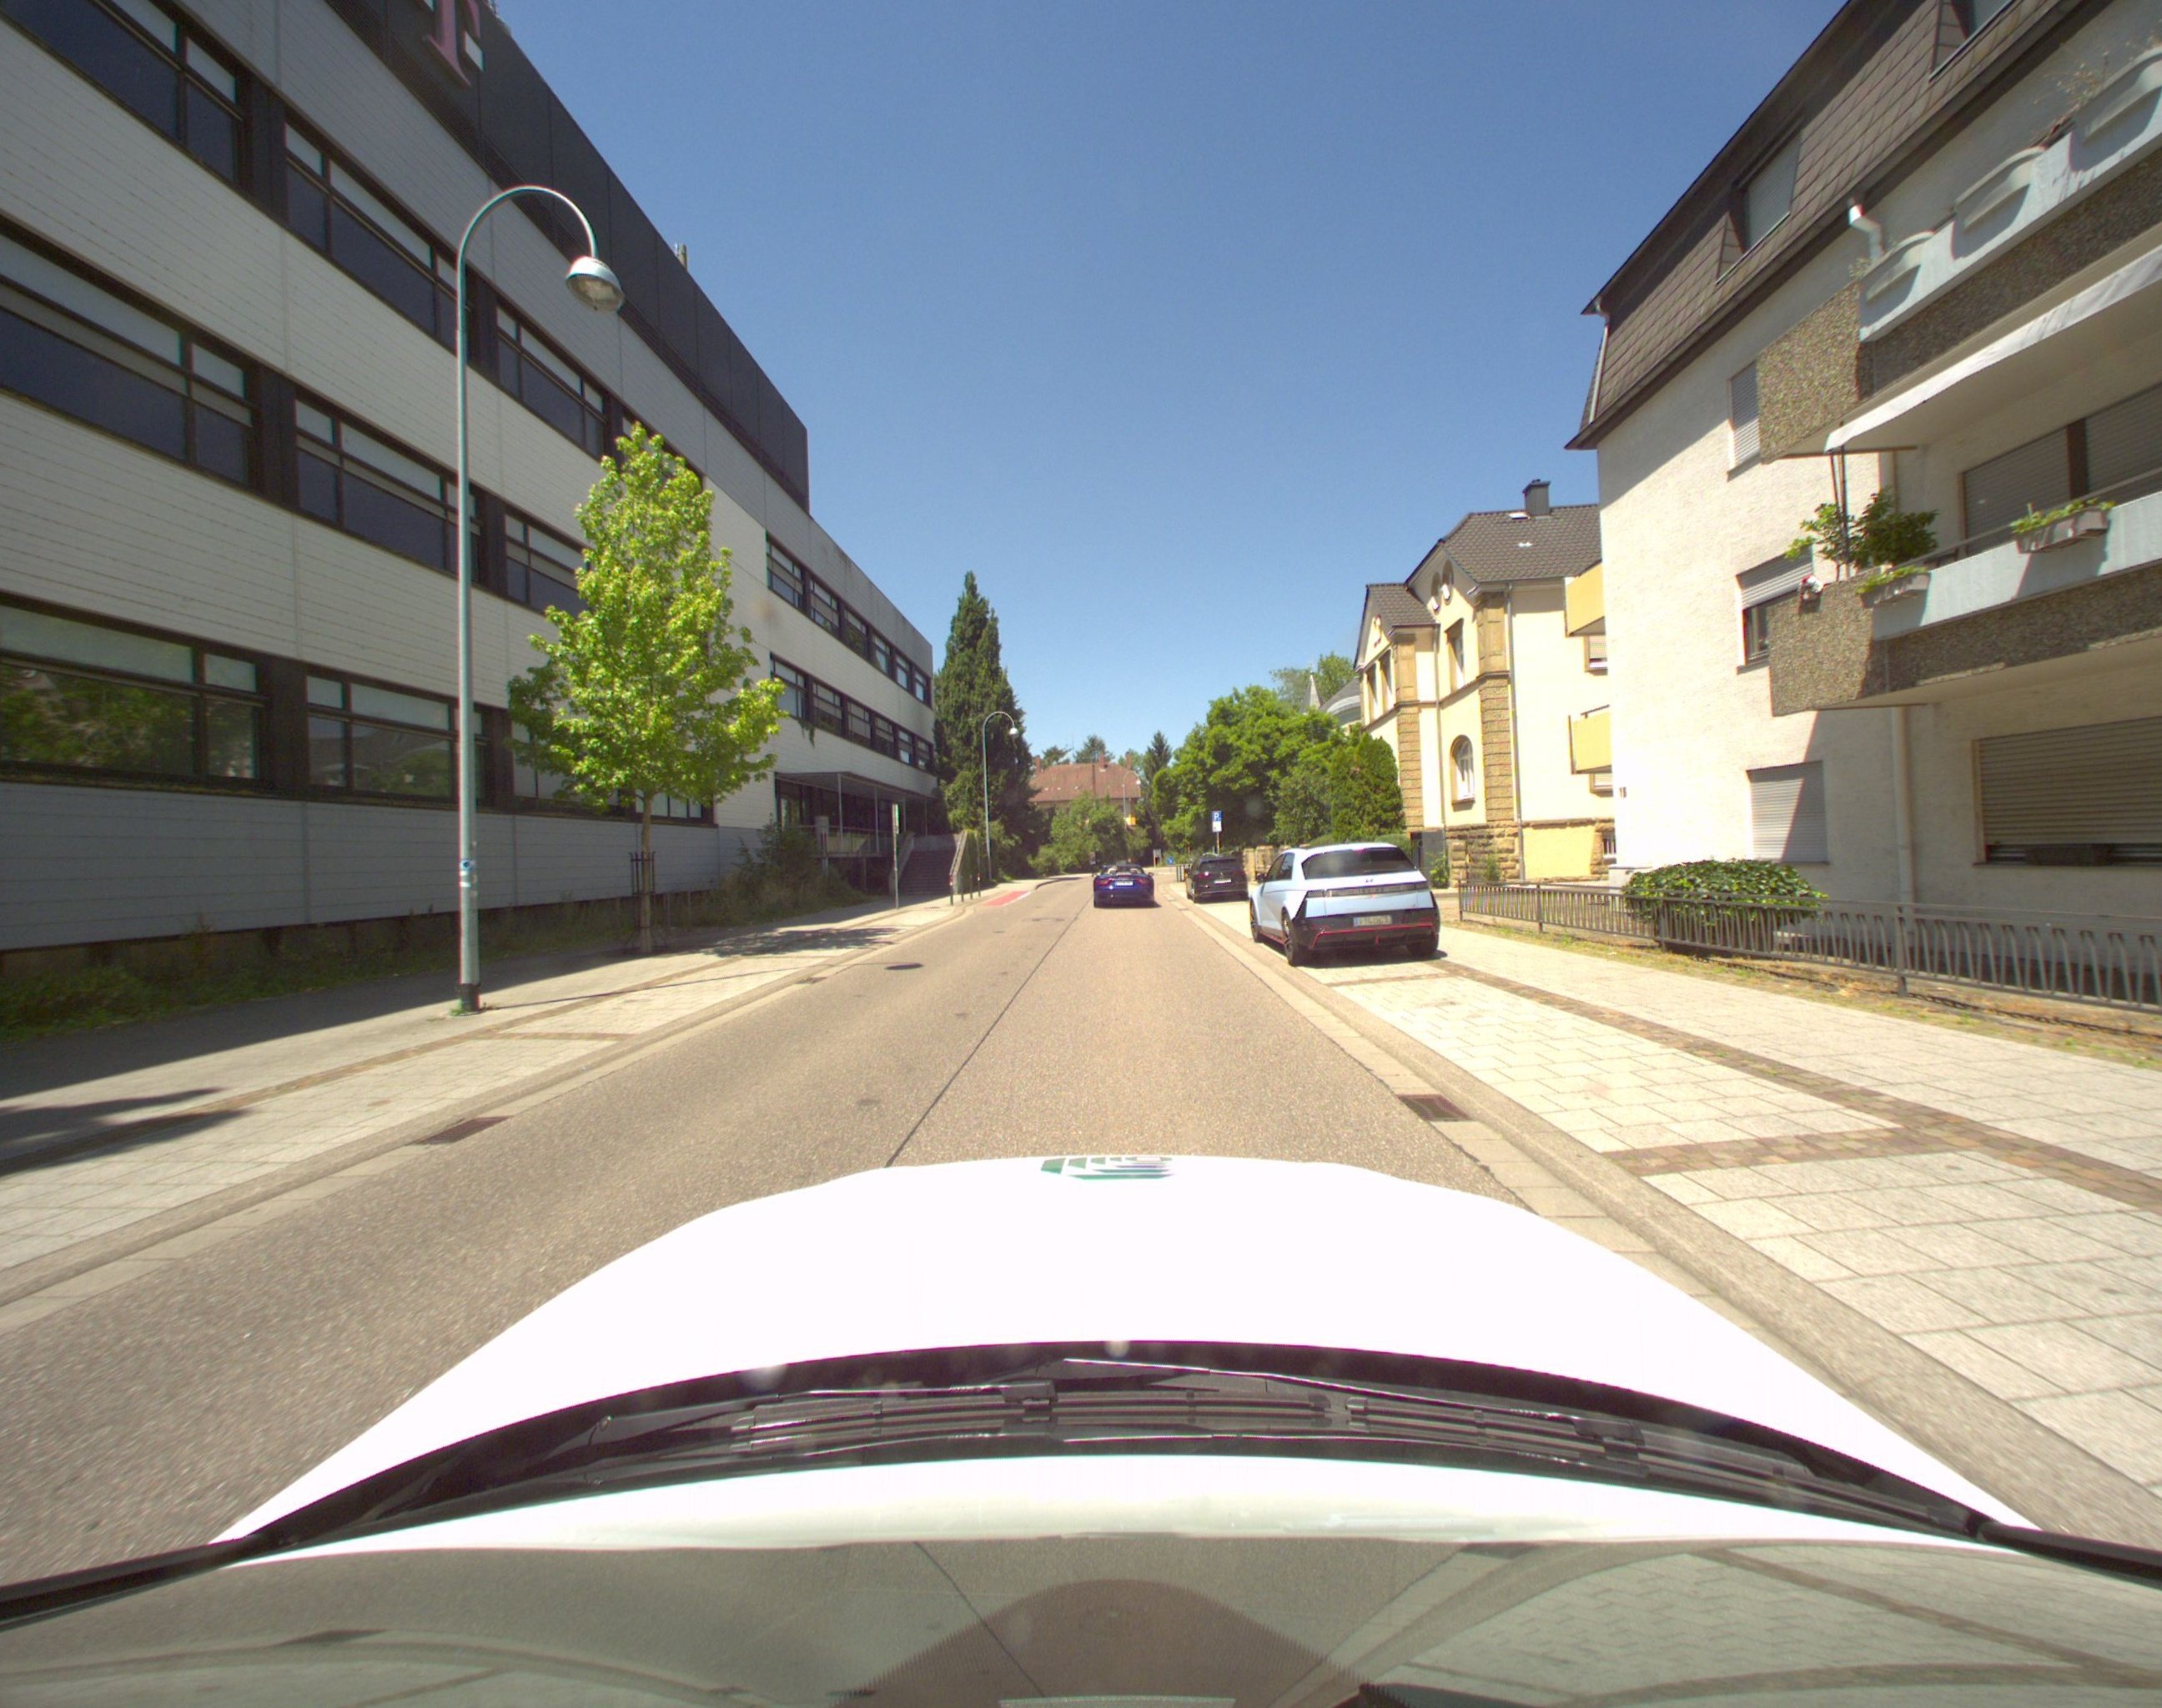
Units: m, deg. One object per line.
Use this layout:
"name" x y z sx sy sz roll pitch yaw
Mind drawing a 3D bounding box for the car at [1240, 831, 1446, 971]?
"car" 3.703 0.598 12.406 1.836 1.619 4.431 -4 0 3

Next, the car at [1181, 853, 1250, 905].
"car" 4.362 0.774 26.968 1.625 1.446 4.401 -5 0 3

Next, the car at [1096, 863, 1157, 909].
"car" 1.474 0.981 26.685 1.819 1.337 4.703 -1 -1 3
